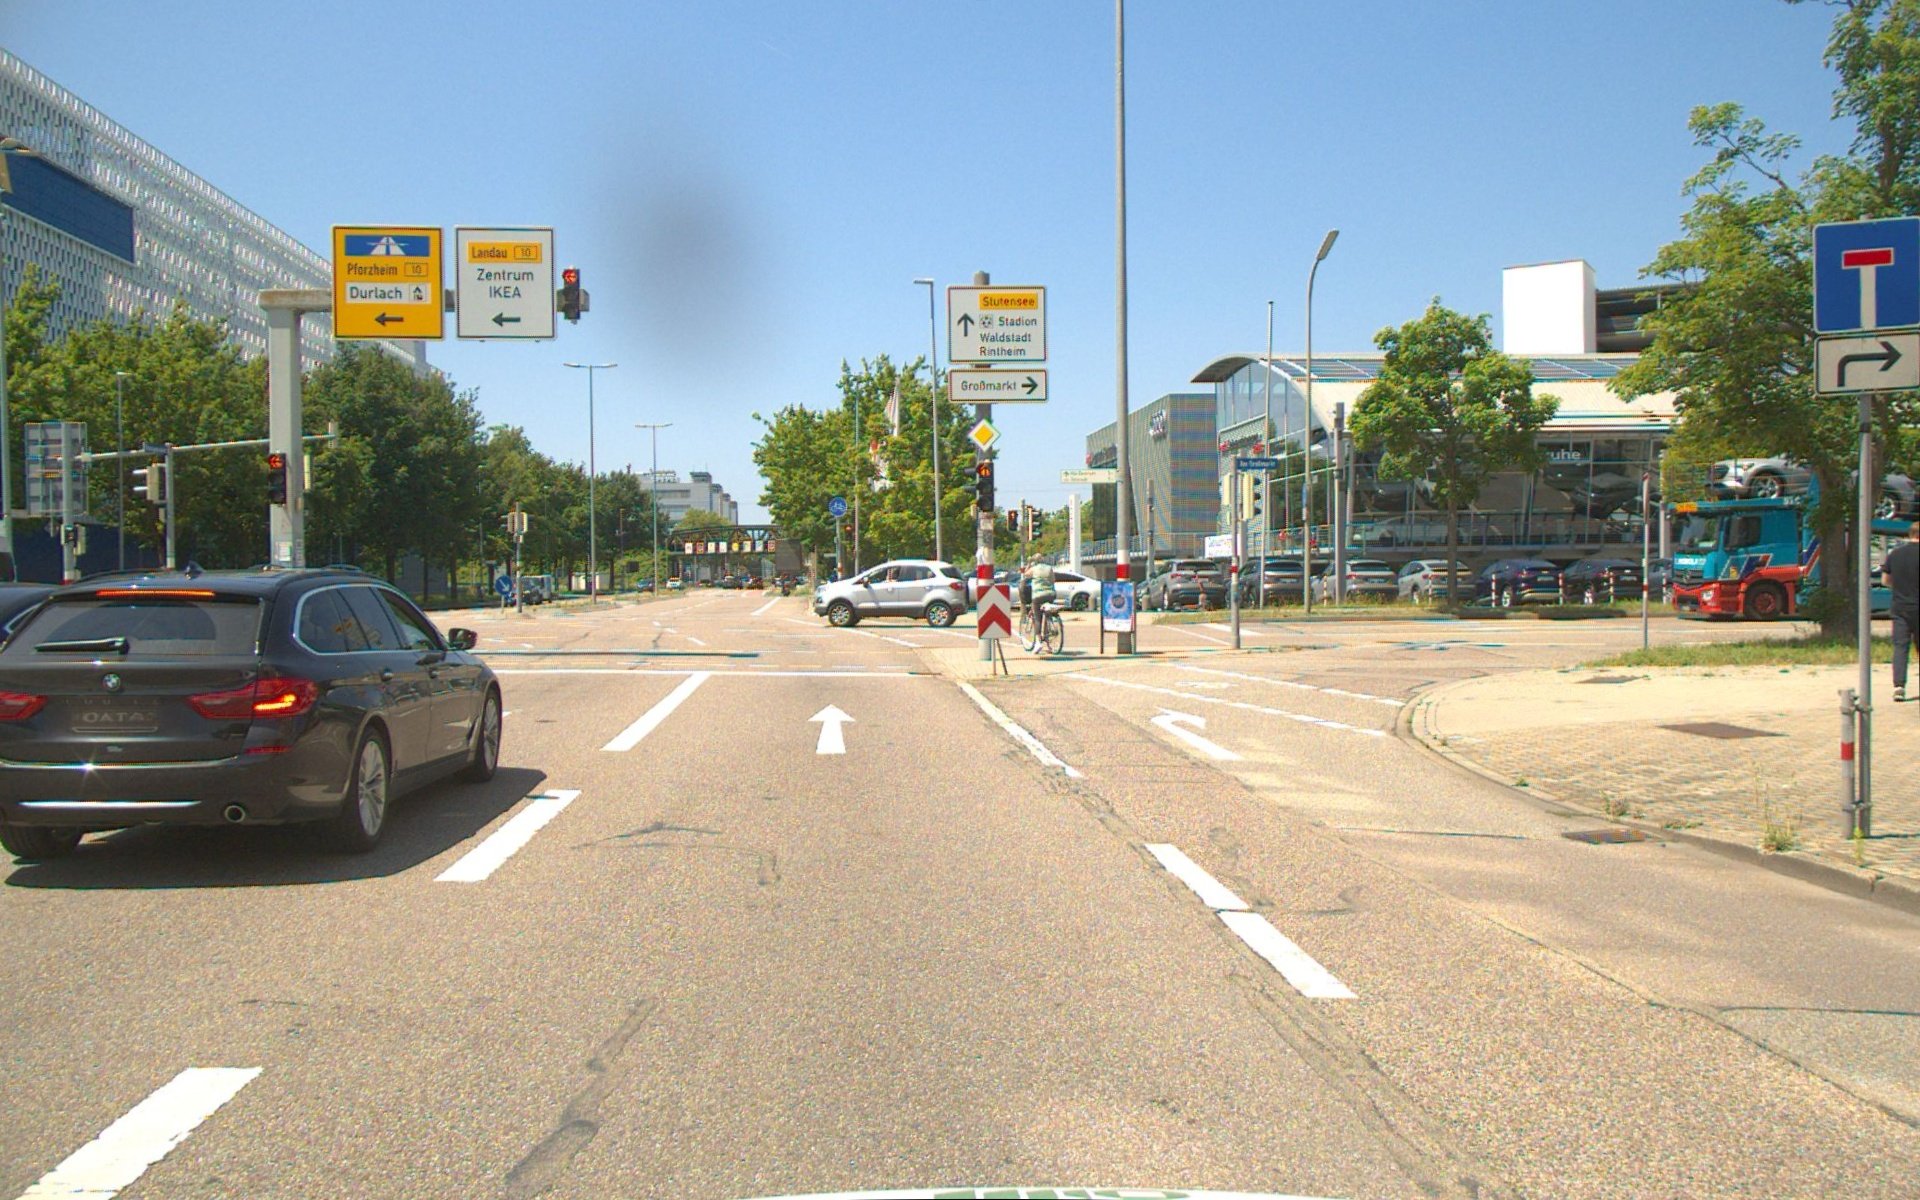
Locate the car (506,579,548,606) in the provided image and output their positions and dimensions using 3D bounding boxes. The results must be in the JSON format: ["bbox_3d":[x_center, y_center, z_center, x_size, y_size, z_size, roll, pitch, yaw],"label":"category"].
[{"bbox_3d":[-27.329,-0.495,104.520,1.839,1.626,4.491,-1,0,-6],"label":"car"}]

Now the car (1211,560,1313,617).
[{"bbox_3d":[9.357,-0.404,51.540,1.955,1.668,4.553,-1,1,-6],"label":"car"}]

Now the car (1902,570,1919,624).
[{"bbox_3d":[34.196,-0.115,56.132,3.624,1.808,1.748,0,1,21],"label":"car"}]

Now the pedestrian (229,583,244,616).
[{"bbox_3d":[-33.381,-0.039,76.304,0.453,1.508,0.483,-1,0,-2],"label":"pedestrian"}]

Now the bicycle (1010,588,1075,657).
[{"bbox_3d":[1.460,0.385,29.497,0.772,1.147,1.917,0,1,-9],"label":"bicycle"}]

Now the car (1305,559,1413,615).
[{"bbox_3d":[12.464,-0.453,51.995,1.955,1.668,4.436,-1,1,-6],"label":"car"}]

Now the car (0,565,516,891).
[{"bbox_3d":[-4.001,0.544,9.911,1.765,1.491,4.619,0,1,-5],"label":"car"}]

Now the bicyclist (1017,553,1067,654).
[{"bbox_3d":[1.449,0.056,29.412,0.720,1.779,0.752,1,1,-10],"label":"bicyclist"}]

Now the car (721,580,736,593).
[{"bbox_3d":[-31.844,-1.829,227.510,1.738,1.758,3.995,-1,0,-6],"label":"car"}]

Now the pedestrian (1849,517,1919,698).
[{"bbox_3d":[10.107,0.065,17.633,0.857,1.877,0.765,-2,0,-33],"label":"pedestrian"}]

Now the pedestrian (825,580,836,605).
[{"bbox_3d":[-7.980,-0.488,101.702,0.655,1.537,0.735,-1,1,-6],"label":"pedestrian"}]

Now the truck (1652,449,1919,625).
[{"bbox_3d":[22.949,-1.502,40.925,10.402,4.154,3.100,0,0,-1],"label":"truck"}]

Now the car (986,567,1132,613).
[{"bbox_3d":[3.269,-0.342,55.189,4.647,1.482,1.999,0,1,-4],"label":"car"}]

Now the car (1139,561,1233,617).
[{"bbox_3d":[6.950,-0.380,51.310,1.955,1.668,4.264,0,1,-6],"label":"car"}]

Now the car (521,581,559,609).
[{"bbox_3d":[-31.391,-0.380,123.768,1.955,2.042,4.759,-1,0,-5],"label":"car"}]

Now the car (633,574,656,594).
[{"bbox_3d":[-35.766,-1.811,187.784,1.953,2.049,3.998,0,-1,-2],"label":"car"}]

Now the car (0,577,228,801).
[{"bbox_3d":[-7.254,0.569,12.441,1.713,1.414,4.530,0,1,-4],"label":"car"}]

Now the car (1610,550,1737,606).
[{"bbox_3d":[22.761,-0.730,52.941,1.792,1.668,4.469,-1,1,-6],"label":"car"}]

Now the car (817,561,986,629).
[{"bbox_3d":[-1.442,-0.130,41.835,4.106,1.680,1.716,0,1,5],"label":"car"}]

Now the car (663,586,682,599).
[{"bbox_3d":[-36.831,-0.981,211.773,1.888,1.694,4.086,-1,0,-3],"label":"car"}]

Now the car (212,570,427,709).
[{"bbox_3d":[-7.713,0.406,20.273,1.765,1.520,3.989,0,1,-11],"label":"car"}]

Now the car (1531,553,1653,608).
[{"bbox_3d":[20.030,-0.654,52.640,1.792,1.668,4.468,0,1,-7],"label":"car"}]

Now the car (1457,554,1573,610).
[{"bbox_3d":[17.433,-0.610,52.169,1.792,1.668,4.469,-1,1,-6],"label":"car"}]

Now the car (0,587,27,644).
[{"bbox_3d":[-24.937,0.377,40.430,3.299,1.381,1.623,0,0,-2],"label":"car"}]

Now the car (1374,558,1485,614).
[{"bbox_3d":[14.755,-0.492,52.273,1.849,1.668,4.520,-1,1,-6],"label":"car"}]

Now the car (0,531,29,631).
[{"bbox_3d":[-27.845,-0.517,43.738,5.375,2.611,2.001,0,0,3],"label":"car"}]
